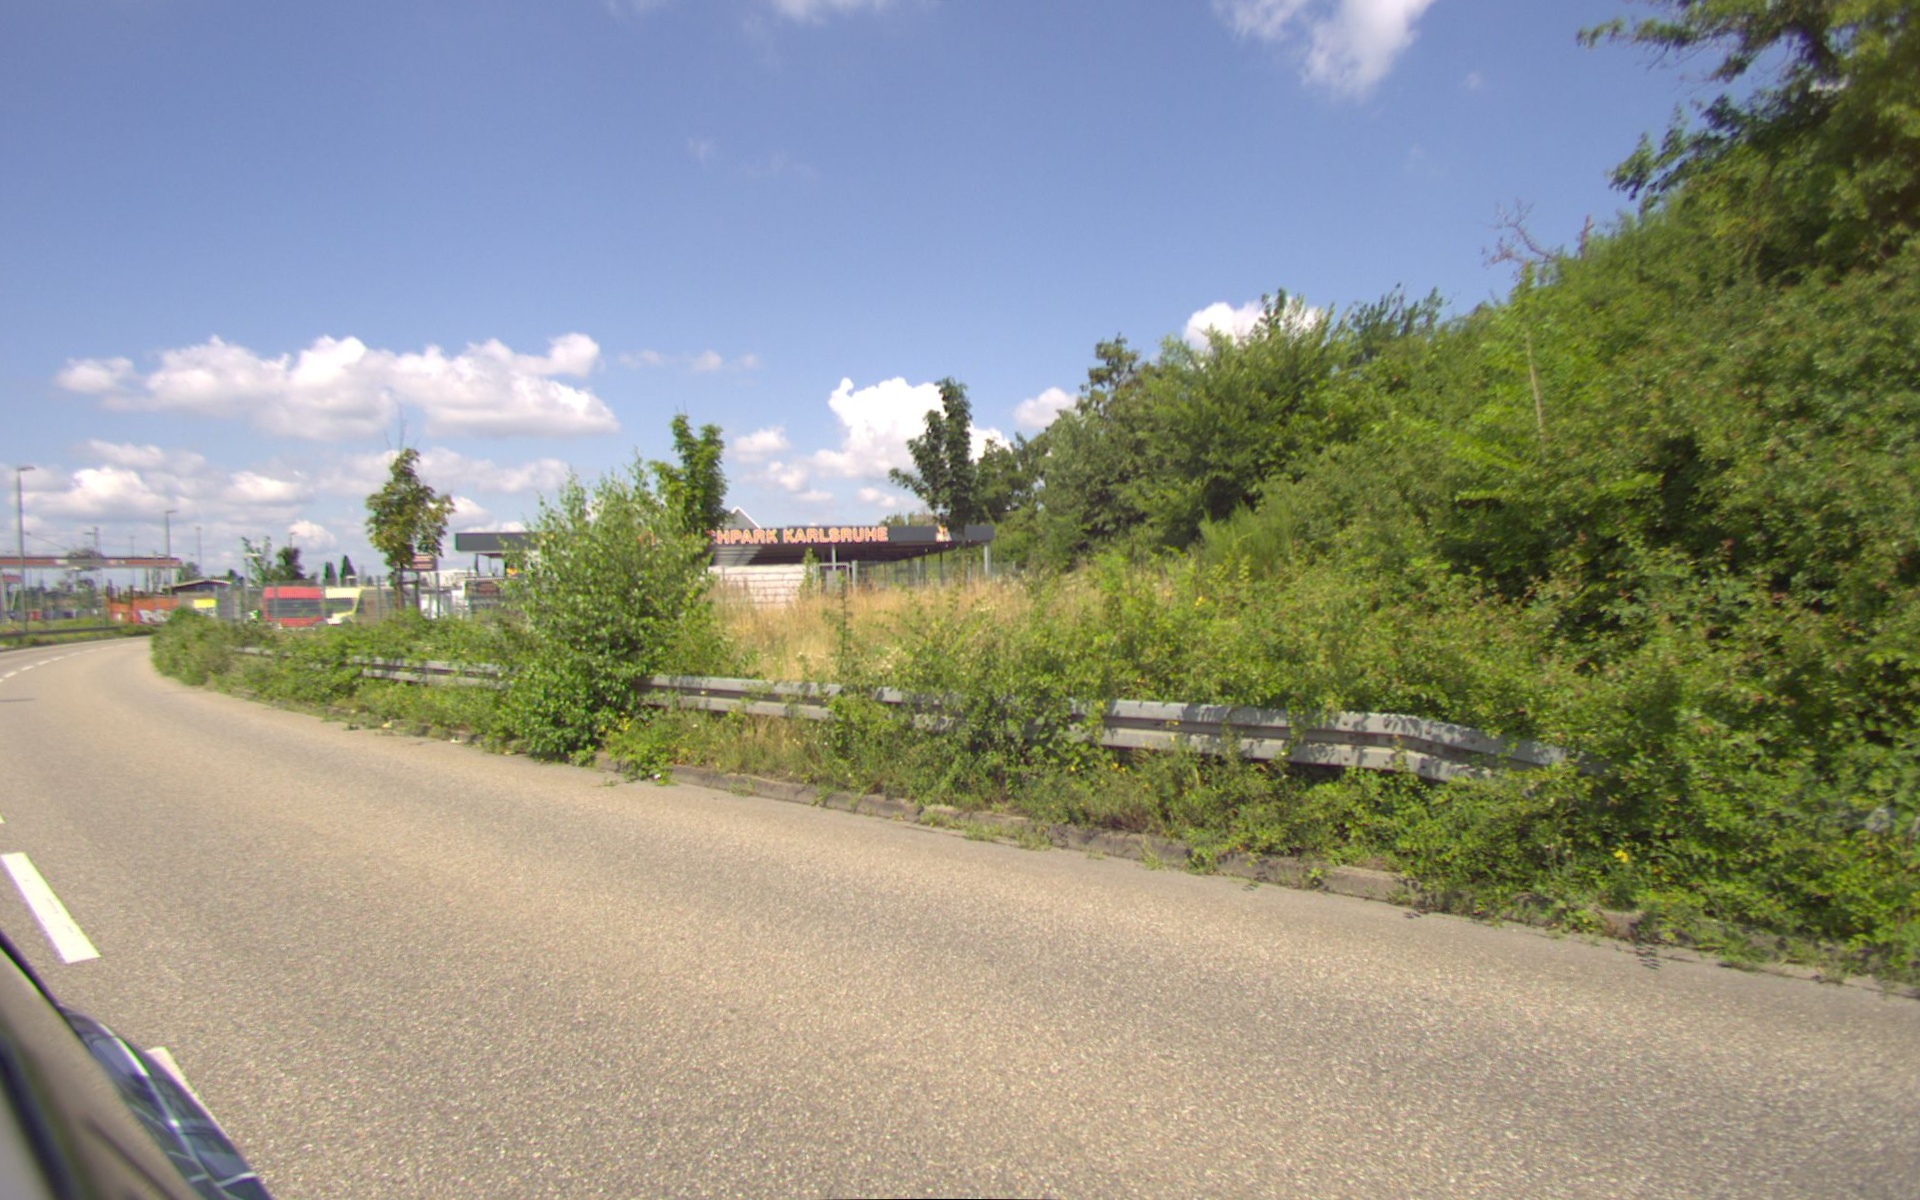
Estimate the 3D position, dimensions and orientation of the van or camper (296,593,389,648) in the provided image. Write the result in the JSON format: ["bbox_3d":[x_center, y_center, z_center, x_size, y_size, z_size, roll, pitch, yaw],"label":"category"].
[{"bbox_3d":[-29.955,0.924,49.317,2.212,2.443,5.674,-1,0,-13],"label":"van or camper"}]

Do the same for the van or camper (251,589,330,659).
[{"bbox_3d":[-25.993,0.935,39.191,2.159,2.533,5.714,1,-2,-37],"label":"van or camper"}]
